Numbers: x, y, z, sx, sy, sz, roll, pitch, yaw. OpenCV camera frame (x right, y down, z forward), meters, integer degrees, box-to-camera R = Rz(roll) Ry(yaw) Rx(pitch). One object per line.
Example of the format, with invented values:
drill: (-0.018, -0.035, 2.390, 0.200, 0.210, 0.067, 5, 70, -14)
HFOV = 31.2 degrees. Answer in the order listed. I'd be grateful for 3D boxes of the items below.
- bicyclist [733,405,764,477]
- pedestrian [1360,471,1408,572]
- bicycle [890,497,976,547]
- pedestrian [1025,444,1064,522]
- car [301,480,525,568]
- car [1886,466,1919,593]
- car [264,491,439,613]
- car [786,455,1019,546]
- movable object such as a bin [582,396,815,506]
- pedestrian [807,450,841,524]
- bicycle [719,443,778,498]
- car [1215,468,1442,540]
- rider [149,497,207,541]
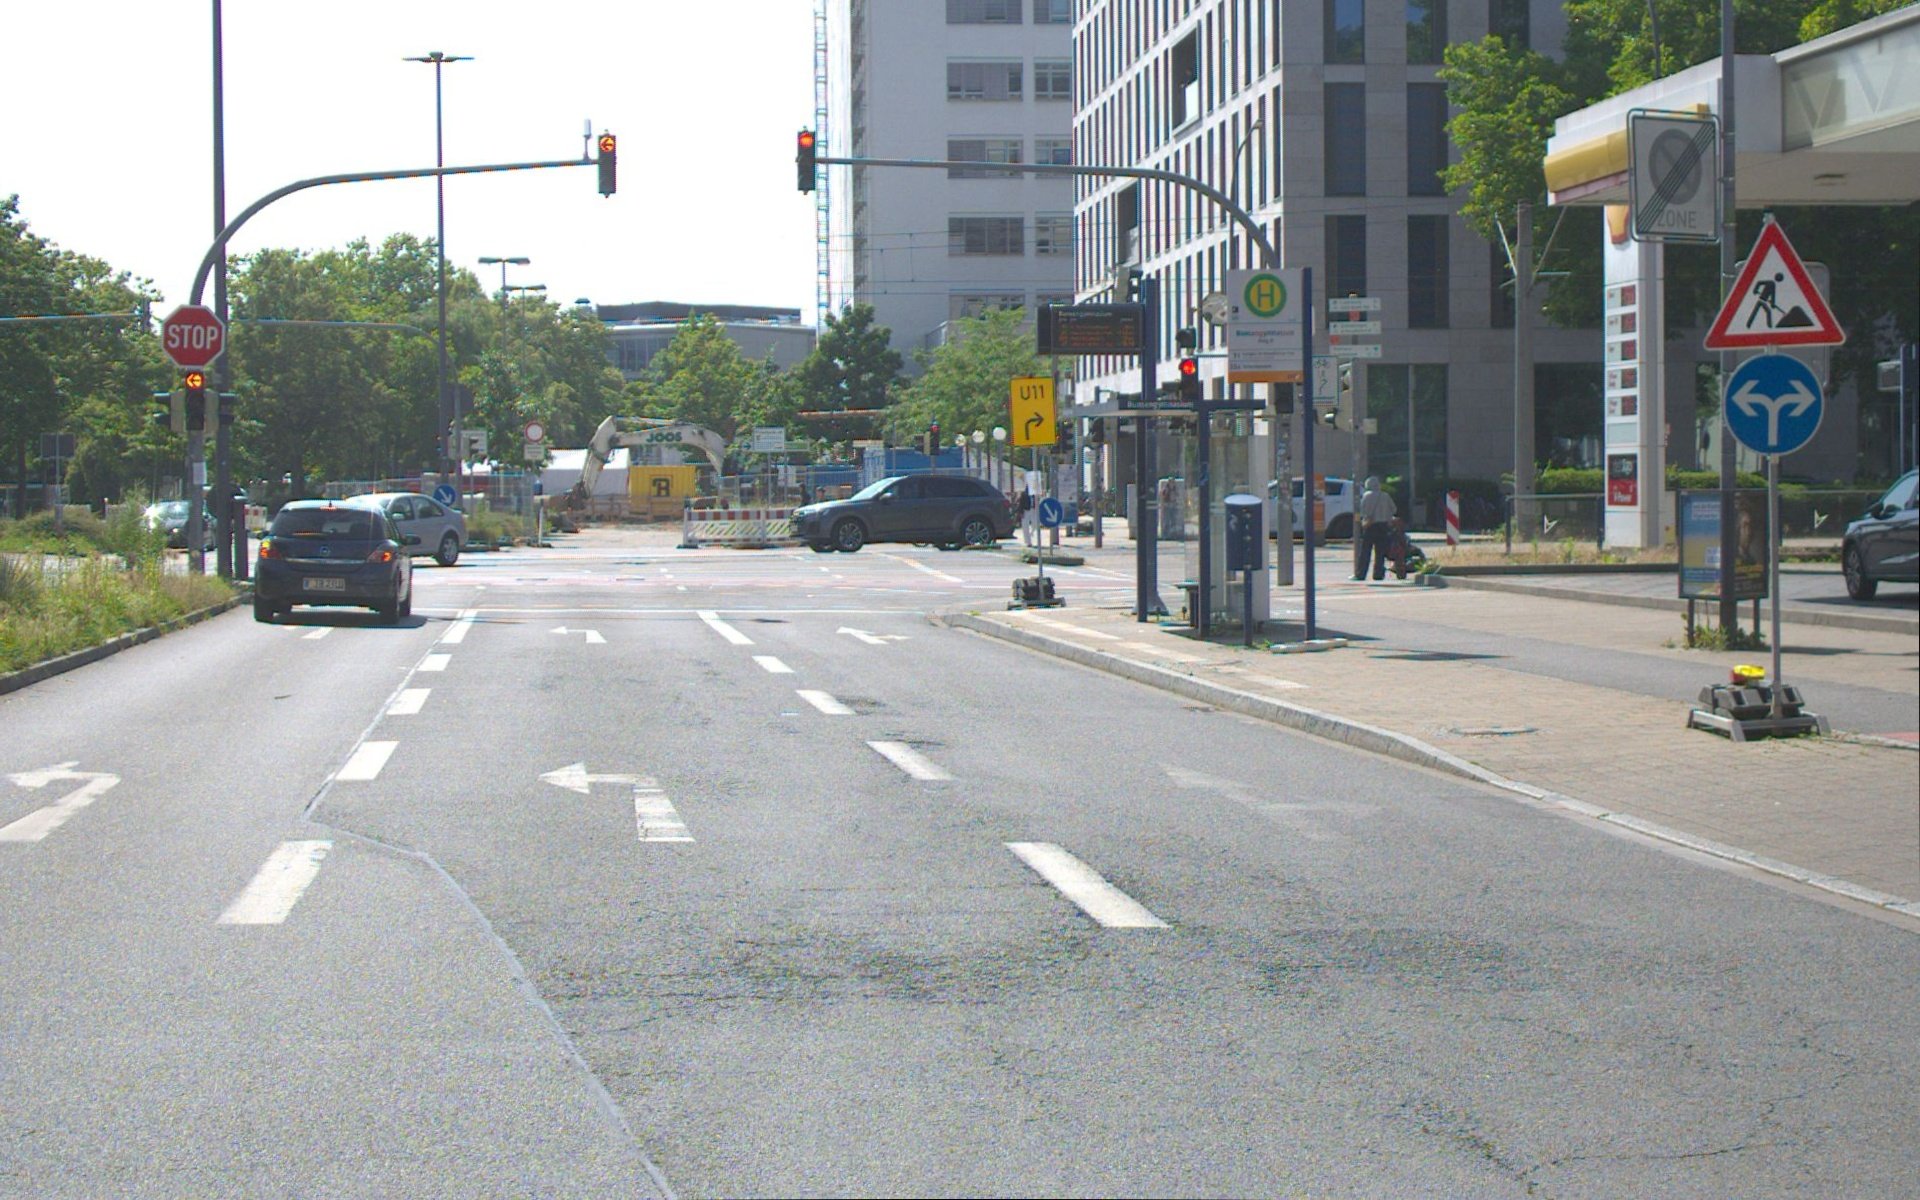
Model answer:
bicyclist: (-7.618, -5.718, 123.720, 1.069, 2.565, 0.828, 0, 1, 0)
pedestrian: (6.505, -1.202, 52.754, 0.618, 1.538, 0.461, 0, 2, -7)
bicycle: (-0.705, -2.047, 90.157, 2.229, 1.280, 0.525, 0, 2, 2)
pedestrian: (2.189, -3.034, 88.977, 0.778, 2.006, 0.776, 1, 2, 22)
car: (-10.633, -1.502, 67.078, 1.997, 1.633, 4.388, 1, 2, 30)
car: (11.364, -0.781, 37.745, 1.650, 1.393, 3.641, 0, 2, 4)
car: (-7.395, -0.626, 41.872, 1.993, 1.393, 4.001, 0, 2, -10)
car: (-1.295, -2.228, 76.758, 4.853, 2.006, 2.001, 0, 2, -15)
movable object such as a bin: (-10.975, -6.237, 144.434, 9.674, 4.534, 3.165, 0, 2, -4)
pedestrian: (-3.663, -3.040, 92.508, 0.788, 2.006, 0.542, 0, 2, -16)
bicycle: (-7.615, -4.656, 123.743, 2.088, 1.955, 0.828, 0, 1, 0)
car: (8.471, -2.213, 79.287, 4.853, 1.631, 2.001, 0, 2, -8)
rider: (-21.776, -2.273, 95.793, 1.391, 1.191, 2.699, 0, 2, -9)
